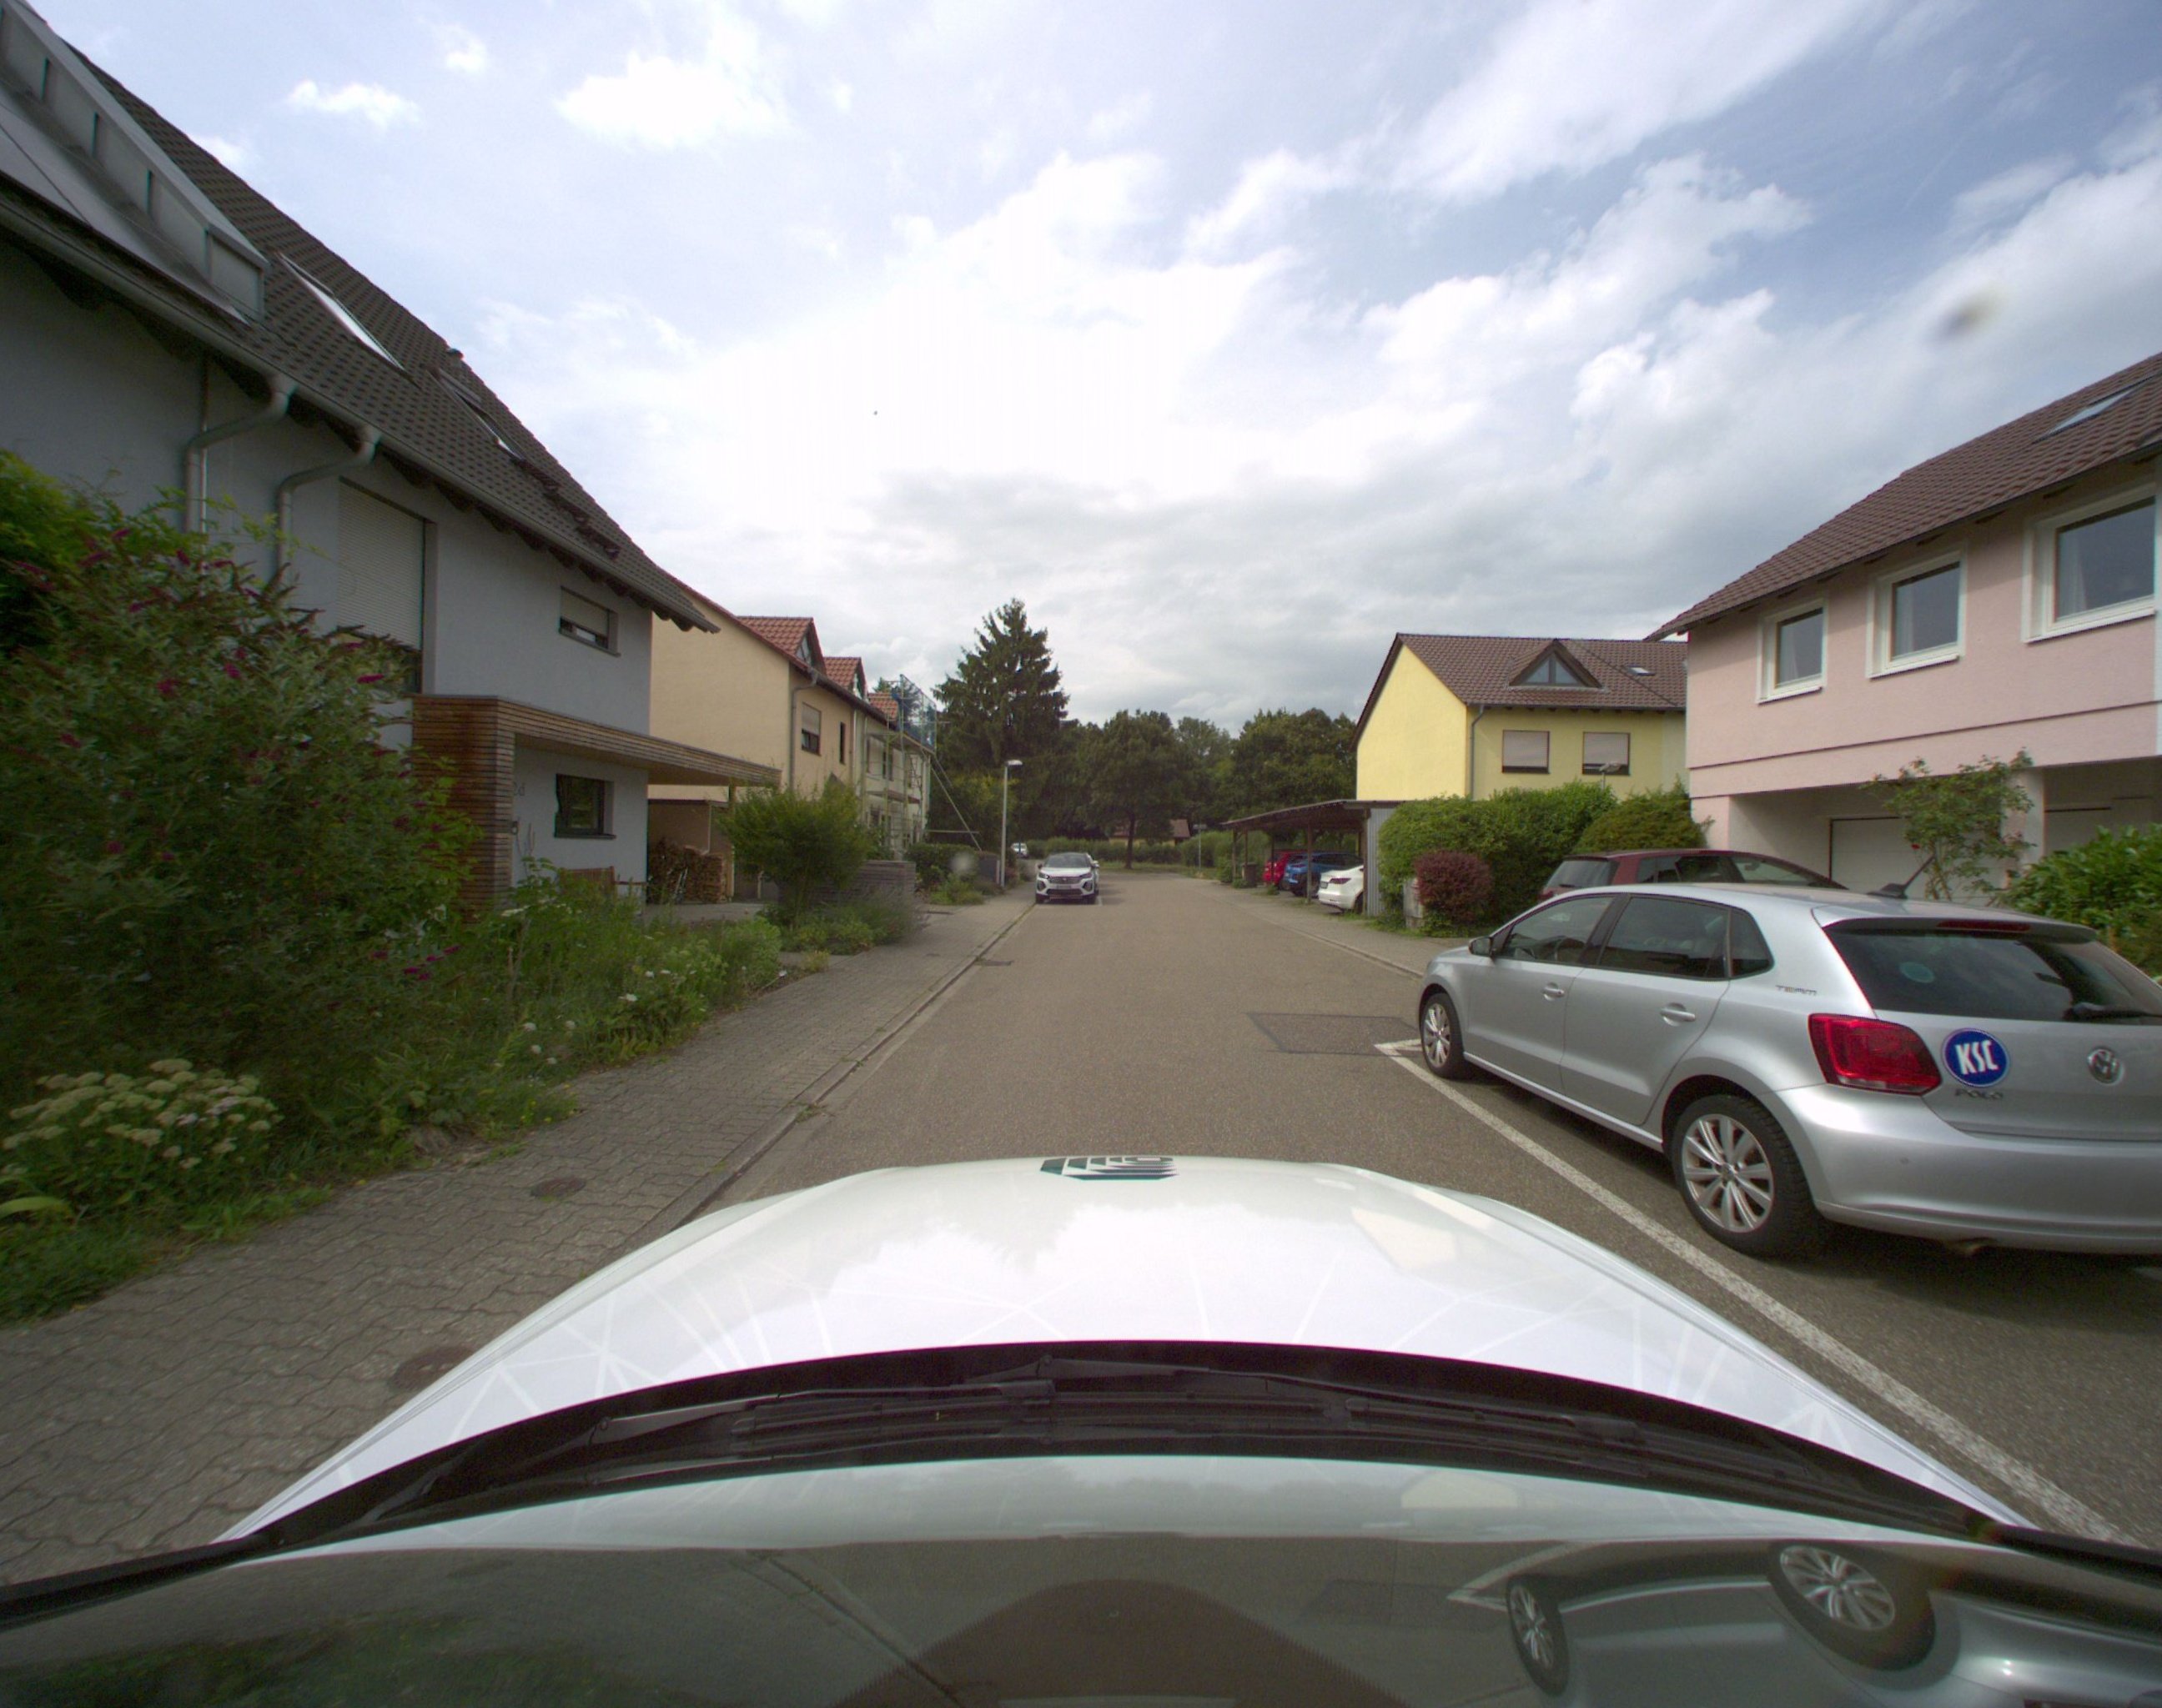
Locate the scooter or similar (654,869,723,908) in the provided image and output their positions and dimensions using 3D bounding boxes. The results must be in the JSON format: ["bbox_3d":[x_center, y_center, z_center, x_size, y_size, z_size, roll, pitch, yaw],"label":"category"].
[{"bbox_3d":[-8.435,0.740,17.526,1.298,0.797,0.363,-1,0,0],"label":"scooter or similar"}]

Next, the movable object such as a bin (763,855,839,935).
[{"bbox_3d":[-4.771,0.684,13.934,0.946,1.312,1.001,0,0,0],"label":"movable object such as a bin"}]

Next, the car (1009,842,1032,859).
[{"bbox_3d":[-6.078,-0.378,82.407,1.930,1.660,4.342,1,1,1],"label":"car"}]

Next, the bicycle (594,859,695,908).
[{"bbox_3d":[-8.943,0.599,16.684,1.921,0.952,0.357,1,0,5],"label":"bicycle"}]

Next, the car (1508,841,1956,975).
[{"bbox_3d":[8.145,0.630,10.531,4.254,1.560,1.935,0,0,1],"label":"car"}]

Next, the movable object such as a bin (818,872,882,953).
[{"bbox_3d":[-3.207,0.798,11.348,0.697,1.072,0.711,0,0,-2],"label":"movable object such as a bin"}]

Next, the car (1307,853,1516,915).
[{"bbox_3d":[8.168,0.715,20.439,4.437,1.433,2.026,0,0,-1],"label":"car"}]

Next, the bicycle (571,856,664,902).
[{"bbox_3d":[-9.877,0.527,17.354,1.918,0.952,0.358,0,0,9],"label":"bicycle"}]

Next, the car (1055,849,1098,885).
[{"bbox_3d":[-0.155,0.529,36.544,1.785,1.531,4.141,0,0,1],"label":"car"}]

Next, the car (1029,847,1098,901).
[{"bbox_3d":[-0.450,0.558,25.685,1.927,1.556,4.636,0,0,1],"label":"car"}]

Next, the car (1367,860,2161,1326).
[{"bbox_3d":[3.390,0.796,4.751,1.859,1.417,4.251,1,0,-1],"label":"car"}]

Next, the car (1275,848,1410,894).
[{"bbox_3d":[8.905,0.560,27.975,4.035,1.522,1.949,0,0,-2],"label":"car"}]

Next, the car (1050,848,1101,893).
[{"bbox_3d":[-0.151,0.561,31.083,1.804,1.562,4.848,0,0,1],"label":"car"}]

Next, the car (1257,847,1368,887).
[{"bbox_3d":[9.300,0.511,32.895,3.946,1.540,1.838,0,0,-2],"label":"car"}]
